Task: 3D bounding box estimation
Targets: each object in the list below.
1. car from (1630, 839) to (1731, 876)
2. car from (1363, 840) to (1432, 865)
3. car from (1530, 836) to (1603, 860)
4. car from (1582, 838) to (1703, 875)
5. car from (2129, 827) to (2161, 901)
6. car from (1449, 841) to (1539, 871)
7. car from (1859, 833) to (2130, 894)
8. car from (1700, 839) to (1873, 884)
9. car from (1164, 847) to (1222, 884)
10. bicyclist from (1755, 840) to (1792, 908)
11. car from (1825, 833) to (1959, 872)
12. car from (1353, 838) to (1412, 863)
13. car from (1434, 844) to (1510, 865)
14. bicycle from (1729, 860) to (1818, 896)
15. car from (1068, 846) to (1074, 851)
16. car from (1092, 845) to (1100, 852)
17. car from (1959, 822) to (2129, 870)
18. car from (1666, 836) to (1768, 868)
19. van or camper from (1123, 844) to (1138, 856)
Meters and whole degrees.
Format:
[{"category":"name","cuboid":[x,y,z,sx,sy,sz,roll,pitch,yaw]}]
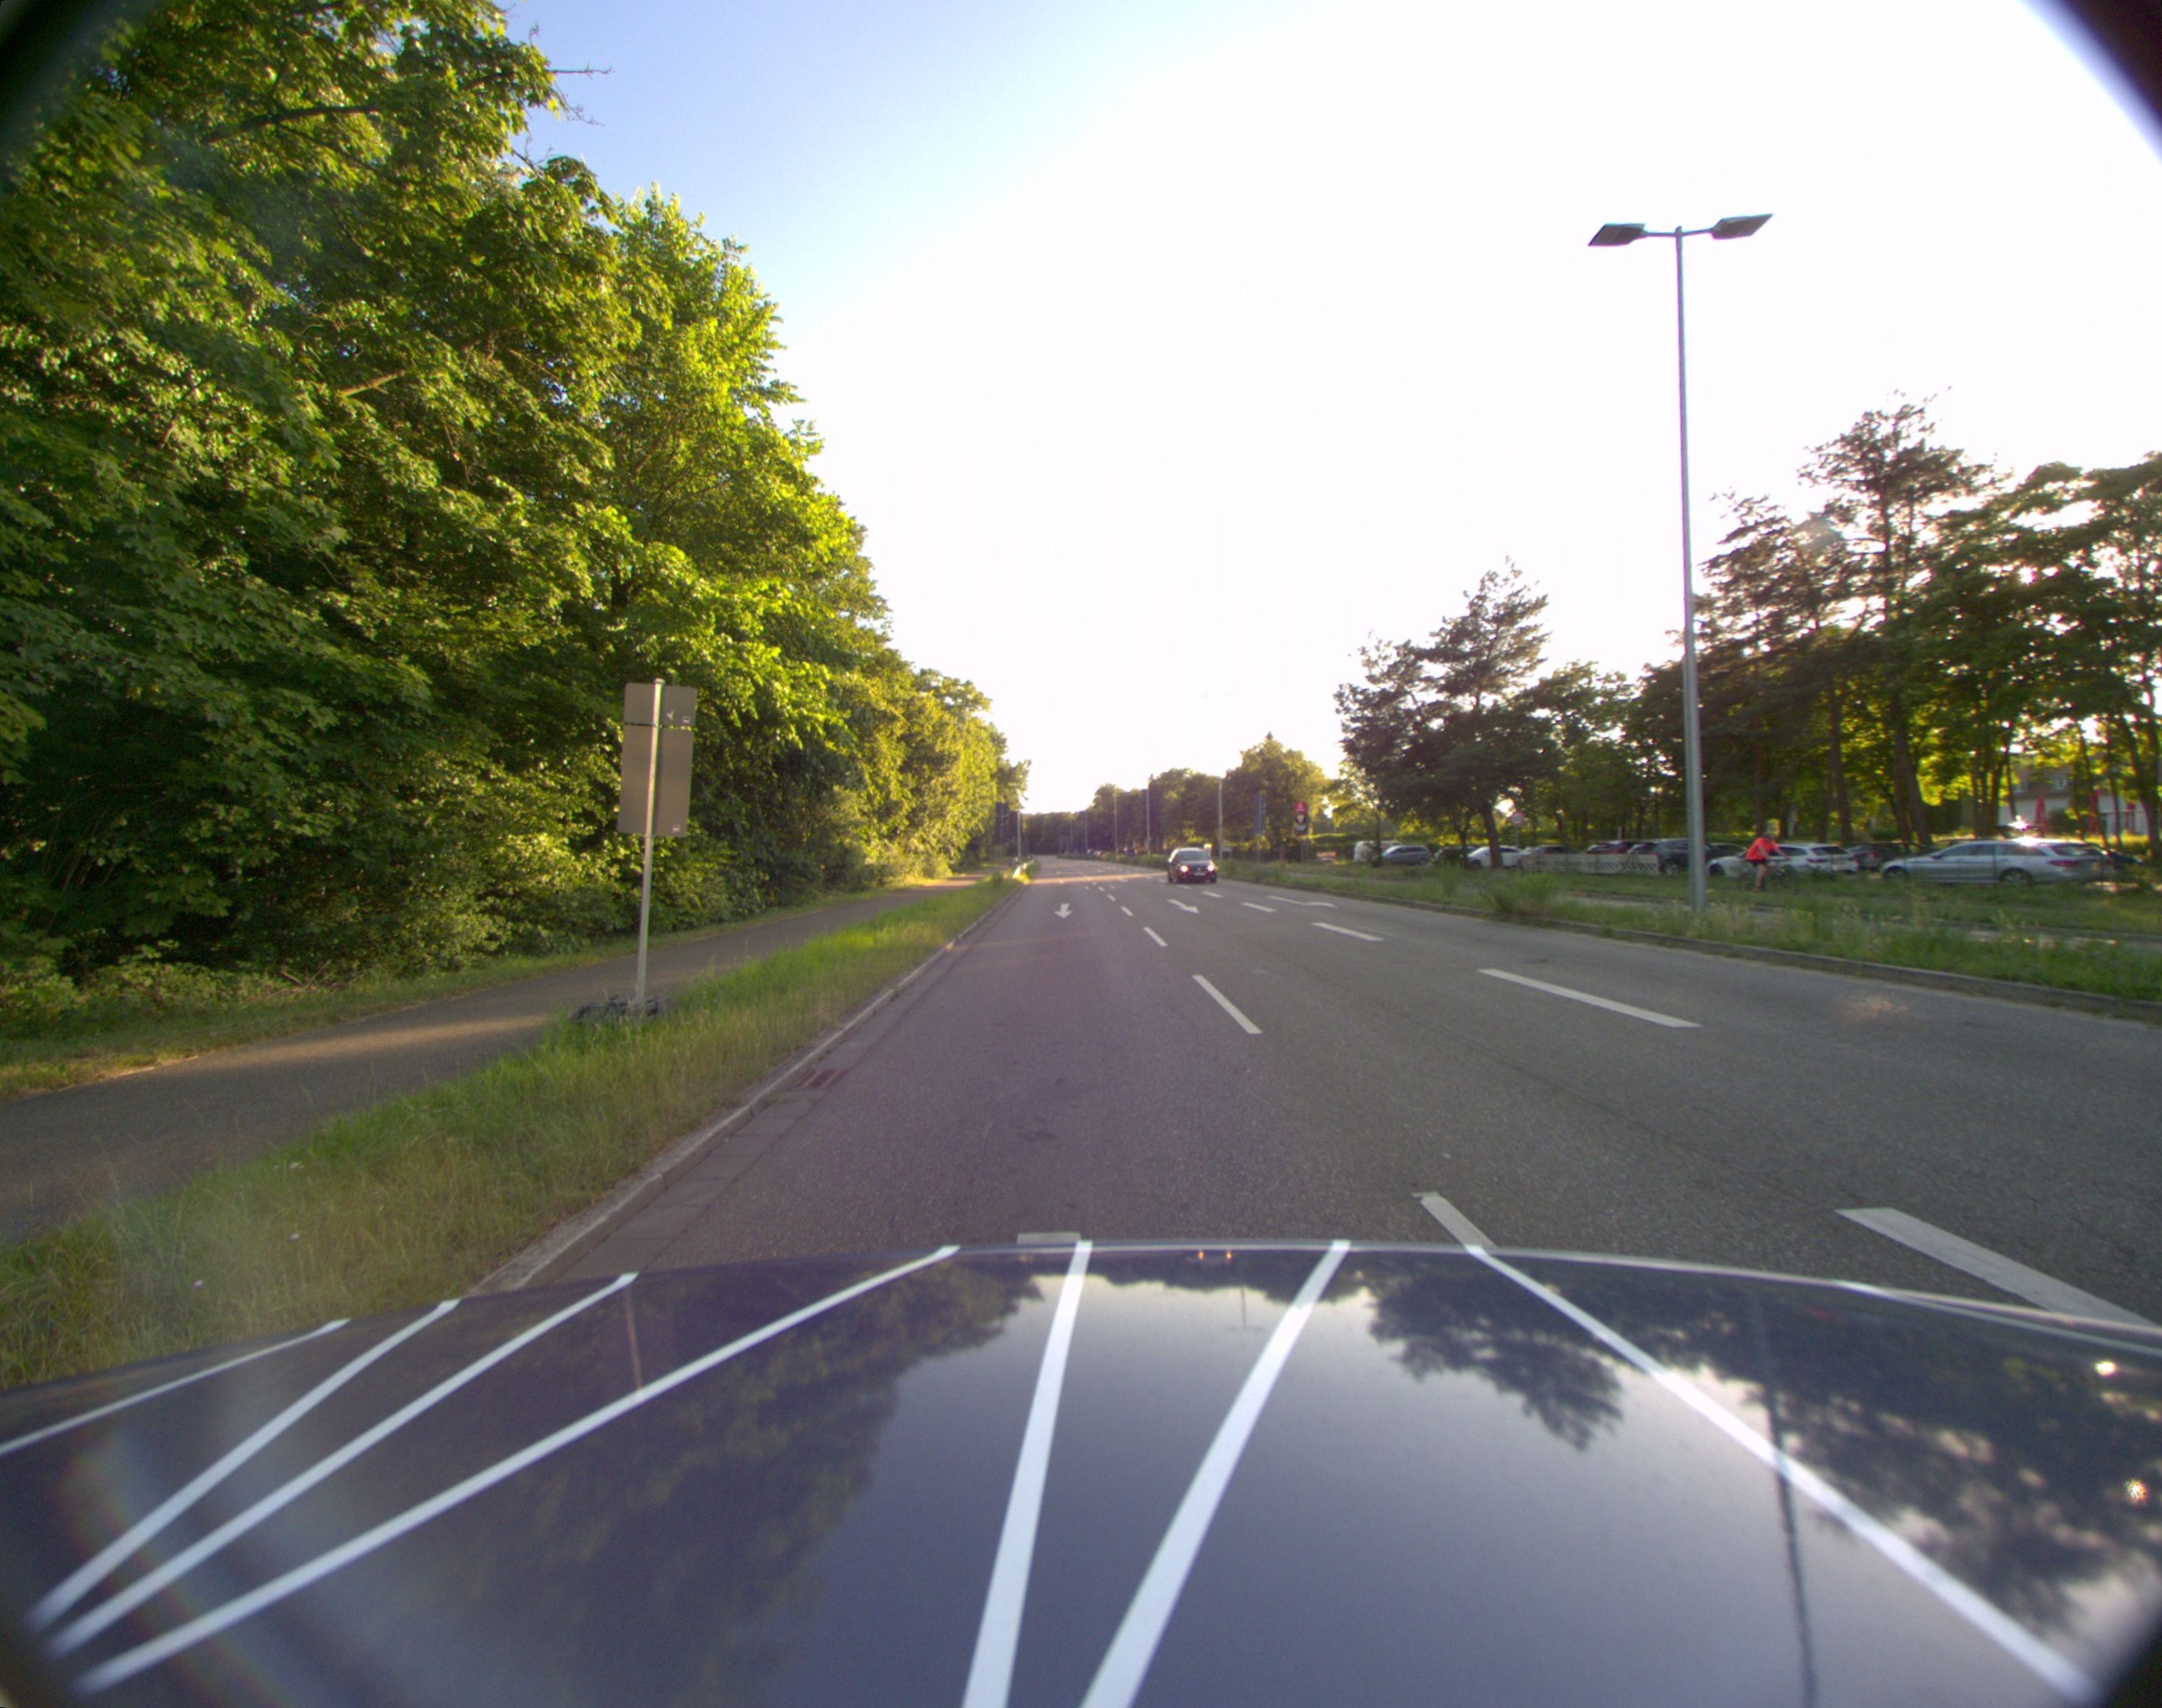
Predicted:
[{"category":"car","cuboid":[25.712,0.142,32.657,3.099,1.518,1.659,-1,1,-2]},{"category":"car","cuboid":[24.156,-0.105,58.026,4.498,1.787,1.909,-1,1,-2]},{"category":"car","cuboid":[34.125,-0.408,53.479,3.997,1.641,1.766,-1,1,-1]},{"category":"car","cuboid":[26.372,0.106,35.769,4.525,1.608,1.771,-1,1,-3]},{"category":"car","cuboid":[27.111,0.253,16.416,1.999,1.776,4.920,-1,1,-4]},{"category":"car","cuboid":[25.173,0.124,46.403,4.497,1.743,1.909,-1,1,-1]},{"category":"car","cuboid":[26.779,0.241,22.624,1.999,1.597,4.920,-1,1,-4]},{"category":"car","cuboid":[26.424,0.252,28.733,1.999,1.539,4.708,-1,1,-4]},{"category":"car","cuboid":[5.057,0.481,34.900,1.999,1.543,3.999,-1,0,-1]},{"category":"bicyclist","cuboid":[19.355,0.556,21.247,0.459,1.863,0.618,-1,1,-5]},{"category":"car","cuboid":[35.424,-0.079,33.243,3.997,1.641,1.766,-1,1,-1]},{"category":"car","cuboid":[24.208,-0.258,61.065,3.998,1.933,1.766,-1,1,-2]},{"category":"car","cuboid":[25.042,0.014,48.705,3.997,1.304,1.732,-1,1,-1]},{"category":"bicycle","cuboid":[19.346,0.640,21.288,0.493,0.928,2.043,-1,1,-4]},{"category":"car","cuboid":[-3.131,-1.702,236.470,1.760,1.532,3.998,-3,1,-4]},{"category":"car","cuboid":[3.692,-1.299,188.894,1.760,1.532,3.998,-3,1,-2]},{"category":"car","cuboid":[34.985,-0.292,27.687,3.997,1.641,1.766,-1,1,-1]},{"category":"car","cuboid":[34.084,-0.127,40.798,3.997,1.641,1.766,-1,1,-1]},{"category":"van or camper","cuboid":[8.945,-0.712,136.669,1.999,2.002,4.575,-1,1,-5]}]
